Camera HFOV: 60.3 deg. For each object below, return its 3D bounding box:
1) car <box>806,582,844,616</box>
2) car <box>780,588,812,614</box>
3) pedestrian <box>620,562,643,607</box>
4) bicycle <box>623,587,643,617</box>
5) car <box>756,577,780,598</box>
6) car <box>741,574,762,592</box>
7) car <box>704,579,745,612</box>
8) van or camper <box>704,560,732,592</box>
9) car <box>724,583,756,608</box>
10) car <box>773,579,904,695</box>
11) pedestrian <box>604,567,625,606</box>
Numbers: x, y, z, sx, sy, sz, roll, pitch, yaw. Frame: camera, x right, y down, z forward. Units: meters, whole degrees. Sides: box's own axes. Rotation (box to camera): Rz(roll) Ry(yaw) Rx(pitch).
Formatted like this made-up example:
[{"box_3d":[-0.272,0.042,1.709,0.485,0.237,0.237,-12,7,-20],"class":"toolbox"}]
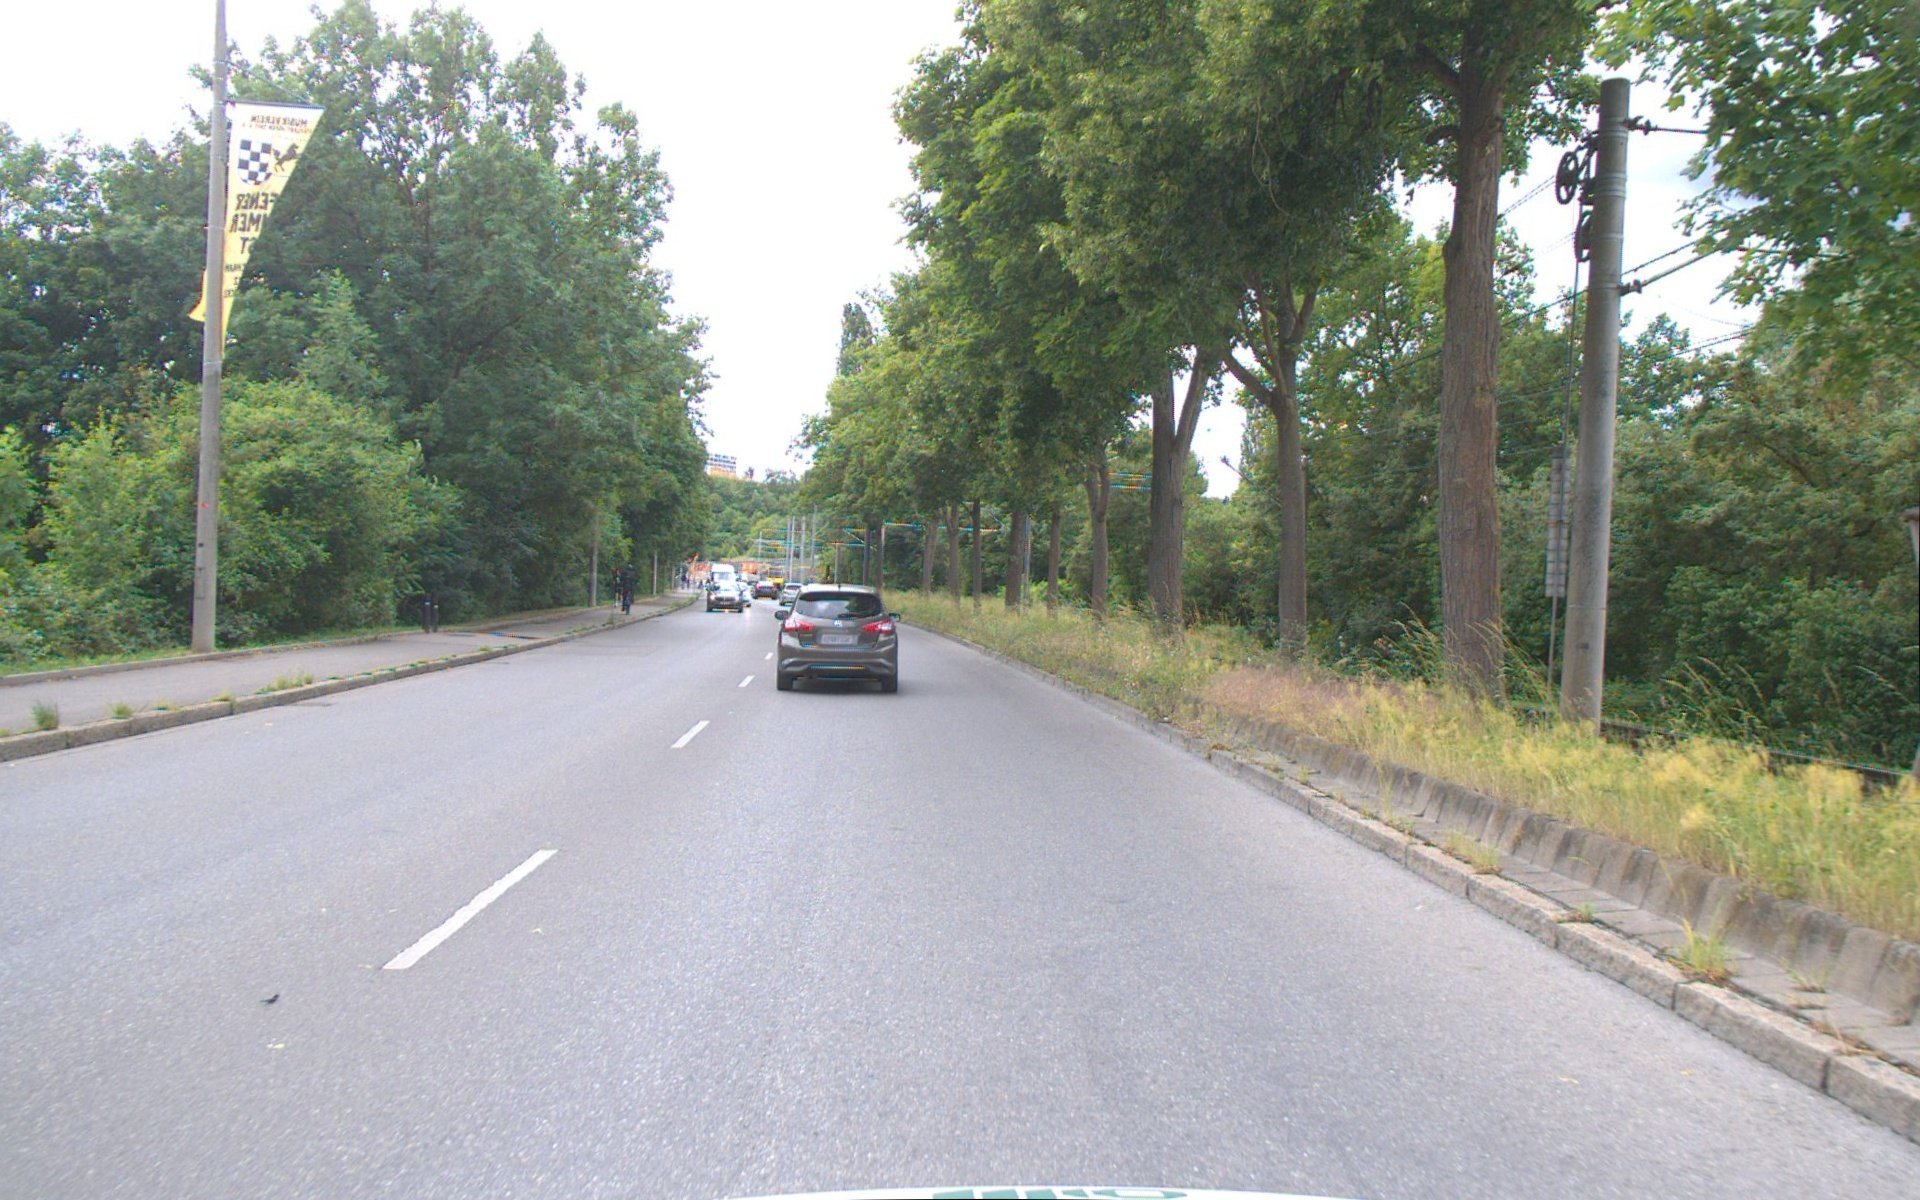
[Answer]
[{"box_3d":[-6.862,-0.088,84.273,1.741,1.497,3.998,4,1,-4],"class":"car"},{"box_3d":[-10.871,0.068,109.625,1.744,1.497,3.991,4,1,-10],"class":"car"},{"box_3d":[-12.071,-0.576,60.718,0.605,1.598,0.849,4,1,-3],"class":"pedestrian"},{"box_3d":[-11.999,0.066,60.732,0.478,1.048,1.124,4,1,-3],"class":"bicycle"},{"box_3d":[-15.909,-1.057,137.323,1.742,1.497,3.996,4,1,-5],"class":"car"},{"box_3d":[-19.070,-1.576,151.389,1.741,1.497,3.996,3,1,-5],"class":"car"},{"box_3d":[-11.513,-0.222,81.018,1.715,1.489,3.916,4,0,-5],"class":"car"},{"box_3d":[-17.934,-1.803,122.717,1.890,2.188,3.925,4,1,-8],"class":"van or camper"},{"box_3d":[-13.231,-0.300,99.655,1.691,1.353,3.472,3,1,-5],"class":"car"},{"box_3d":[-1.799,0.490,24.972,1.780,1.534,3.998,1,1,-3],"class":"car"},{"box_3d":[-15.107,-0.607,72.280,0.682,1.649,0.684,4,1,-4],"class":"pedestrian"}]
